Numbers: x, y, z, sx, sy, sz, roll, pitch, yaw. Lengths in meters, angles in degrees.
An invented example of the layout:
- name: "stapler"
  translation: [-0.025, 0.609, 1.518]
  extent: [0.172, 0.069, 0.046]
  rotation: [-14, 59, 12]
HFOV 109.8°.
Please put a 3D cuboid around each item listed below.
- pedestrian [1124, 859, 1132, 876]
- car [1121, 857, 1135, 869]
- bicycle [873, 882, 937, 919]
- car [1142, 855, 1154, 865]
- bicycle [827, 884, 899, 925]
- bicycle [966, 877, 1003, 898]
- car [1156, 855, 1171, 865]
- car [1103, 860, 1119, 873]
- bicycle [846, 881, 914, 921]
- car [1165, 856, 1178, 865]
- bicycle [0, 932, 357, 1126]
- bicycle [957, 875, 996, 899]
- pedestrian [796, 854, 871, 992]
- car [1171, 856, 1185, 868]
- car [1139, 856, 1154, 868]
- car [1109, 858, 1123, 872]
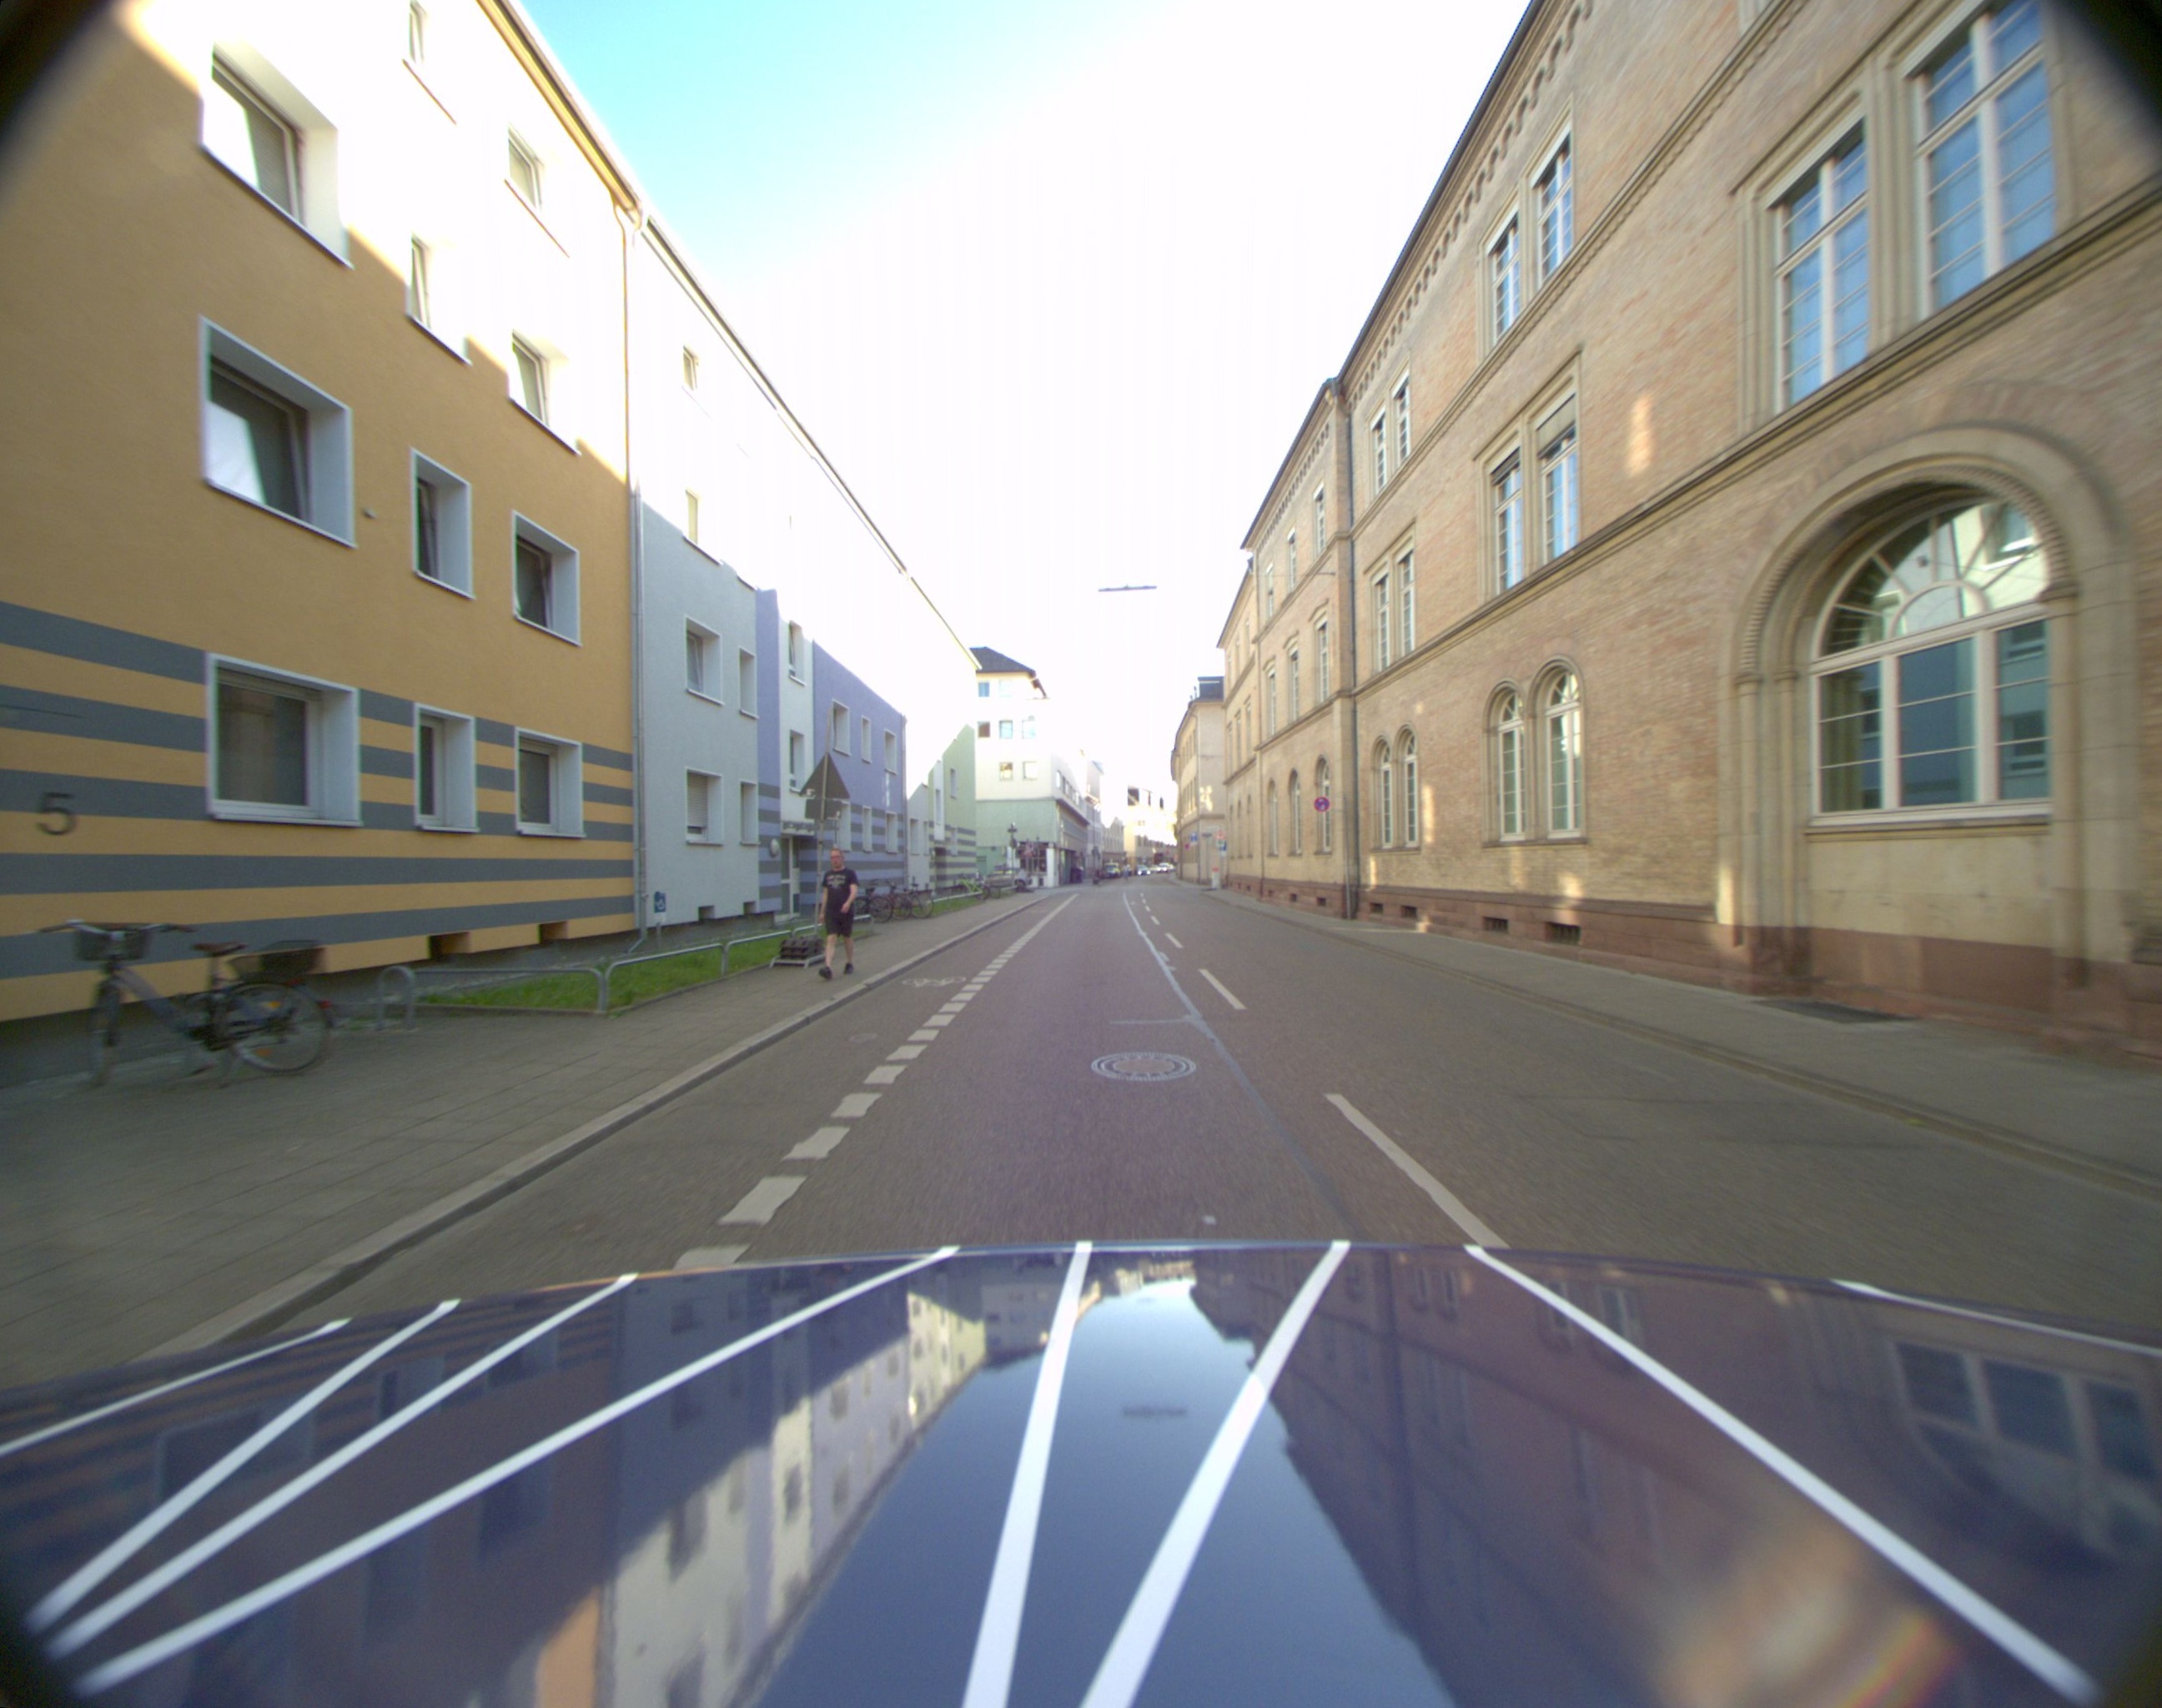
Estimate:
- name: "pedestrian"
  translation: [4.234, 1.168, 68.124]
  extent: [0.661, 1.509, 0.708]
  rotation: [-1, 0, 1]
- name: "car"
  translation: [6.851, 1.356, 110.967]
  extent: [1.535, 1.714, 3.742]
  rotation: [-1, 0, 10]
- name: "bicycle"
  translation: [-5.048, 1.342, 21.868]
  extent: [1.711, 1.029, 0.636]
  rotation: [0, 0, -4]
- name: "car"
  translation: [12.175, 1.058, 138.325]
  extent: [1.534, 1.714, 3.743]
  rotation: [-1, 0, 13]
- name: "bicycle"
  translation: [-5.711, 1.316, 19.928]
  extent: [1.711, 1.039, 0.636]
  rotation: [0, 0, -1]
- name: "bicycle"
  translation: [-4.542, 1.556, 35.727]
  extent: [1.711, 0.972, 0.516]
  rotation: [0, 0, -4]
- name: "car"
  translation: [14.547, 0.982, 134.124]
  extent: [1.921, 1.712, 4.966]
  rotation: [-1, 0, 15]
- name: "car"
  translation: [3.522, 1.457, 89.392]
  extent: [1.634, 1.405, 3.686]
  rotation: [-1, 0, 5]
- name: "bicycle"
  translation: [-5.569, 1.308, 21.079]
  extent: [1.711, 1.075, 0.636]
  rotation: [0, 0, -2]
- name: "car"
  translation: [18.223, 1.232, 152.675]
  extent: [1.925, 1.714, 4.235]
  rotation: [-1, 0, 16]
- name: "bicycle"
  translation: [-6.091, 1.136, 5.140]
  extent: [1.711, 1.152, 0.636]
  rotation: [0, 0, -4]
- name: "bicycle"
  translation: [-4.715, 1.481, 34.257]
  extent: [1.711, 1.097, 0.584]
  rotation: [0, 0, -4]
- name: "pedestrian"
  translation: [-3.365, 0.906, 10.398]
  extent: [0.646, 1.778, 0.915]
  rotation: [2, 0, 1]
- name: "car"
  translation: [13.991, 1.115, 109.537]
  extent: [1.663, 1.714, 3.742]
  rotation: [-1, 0, 11]
- name: "car"
  translation: [9.950, 1.182, 115.032]
  extent: [1.861, 1.714, 3.742]
  rotation: [-1, 0, 12]
- name: "car"
  translation: [4.336, 1.322, 94.679]
  extent: [1.535, 1.714, 3.740]
  rotation: [-1, 0, 5]
